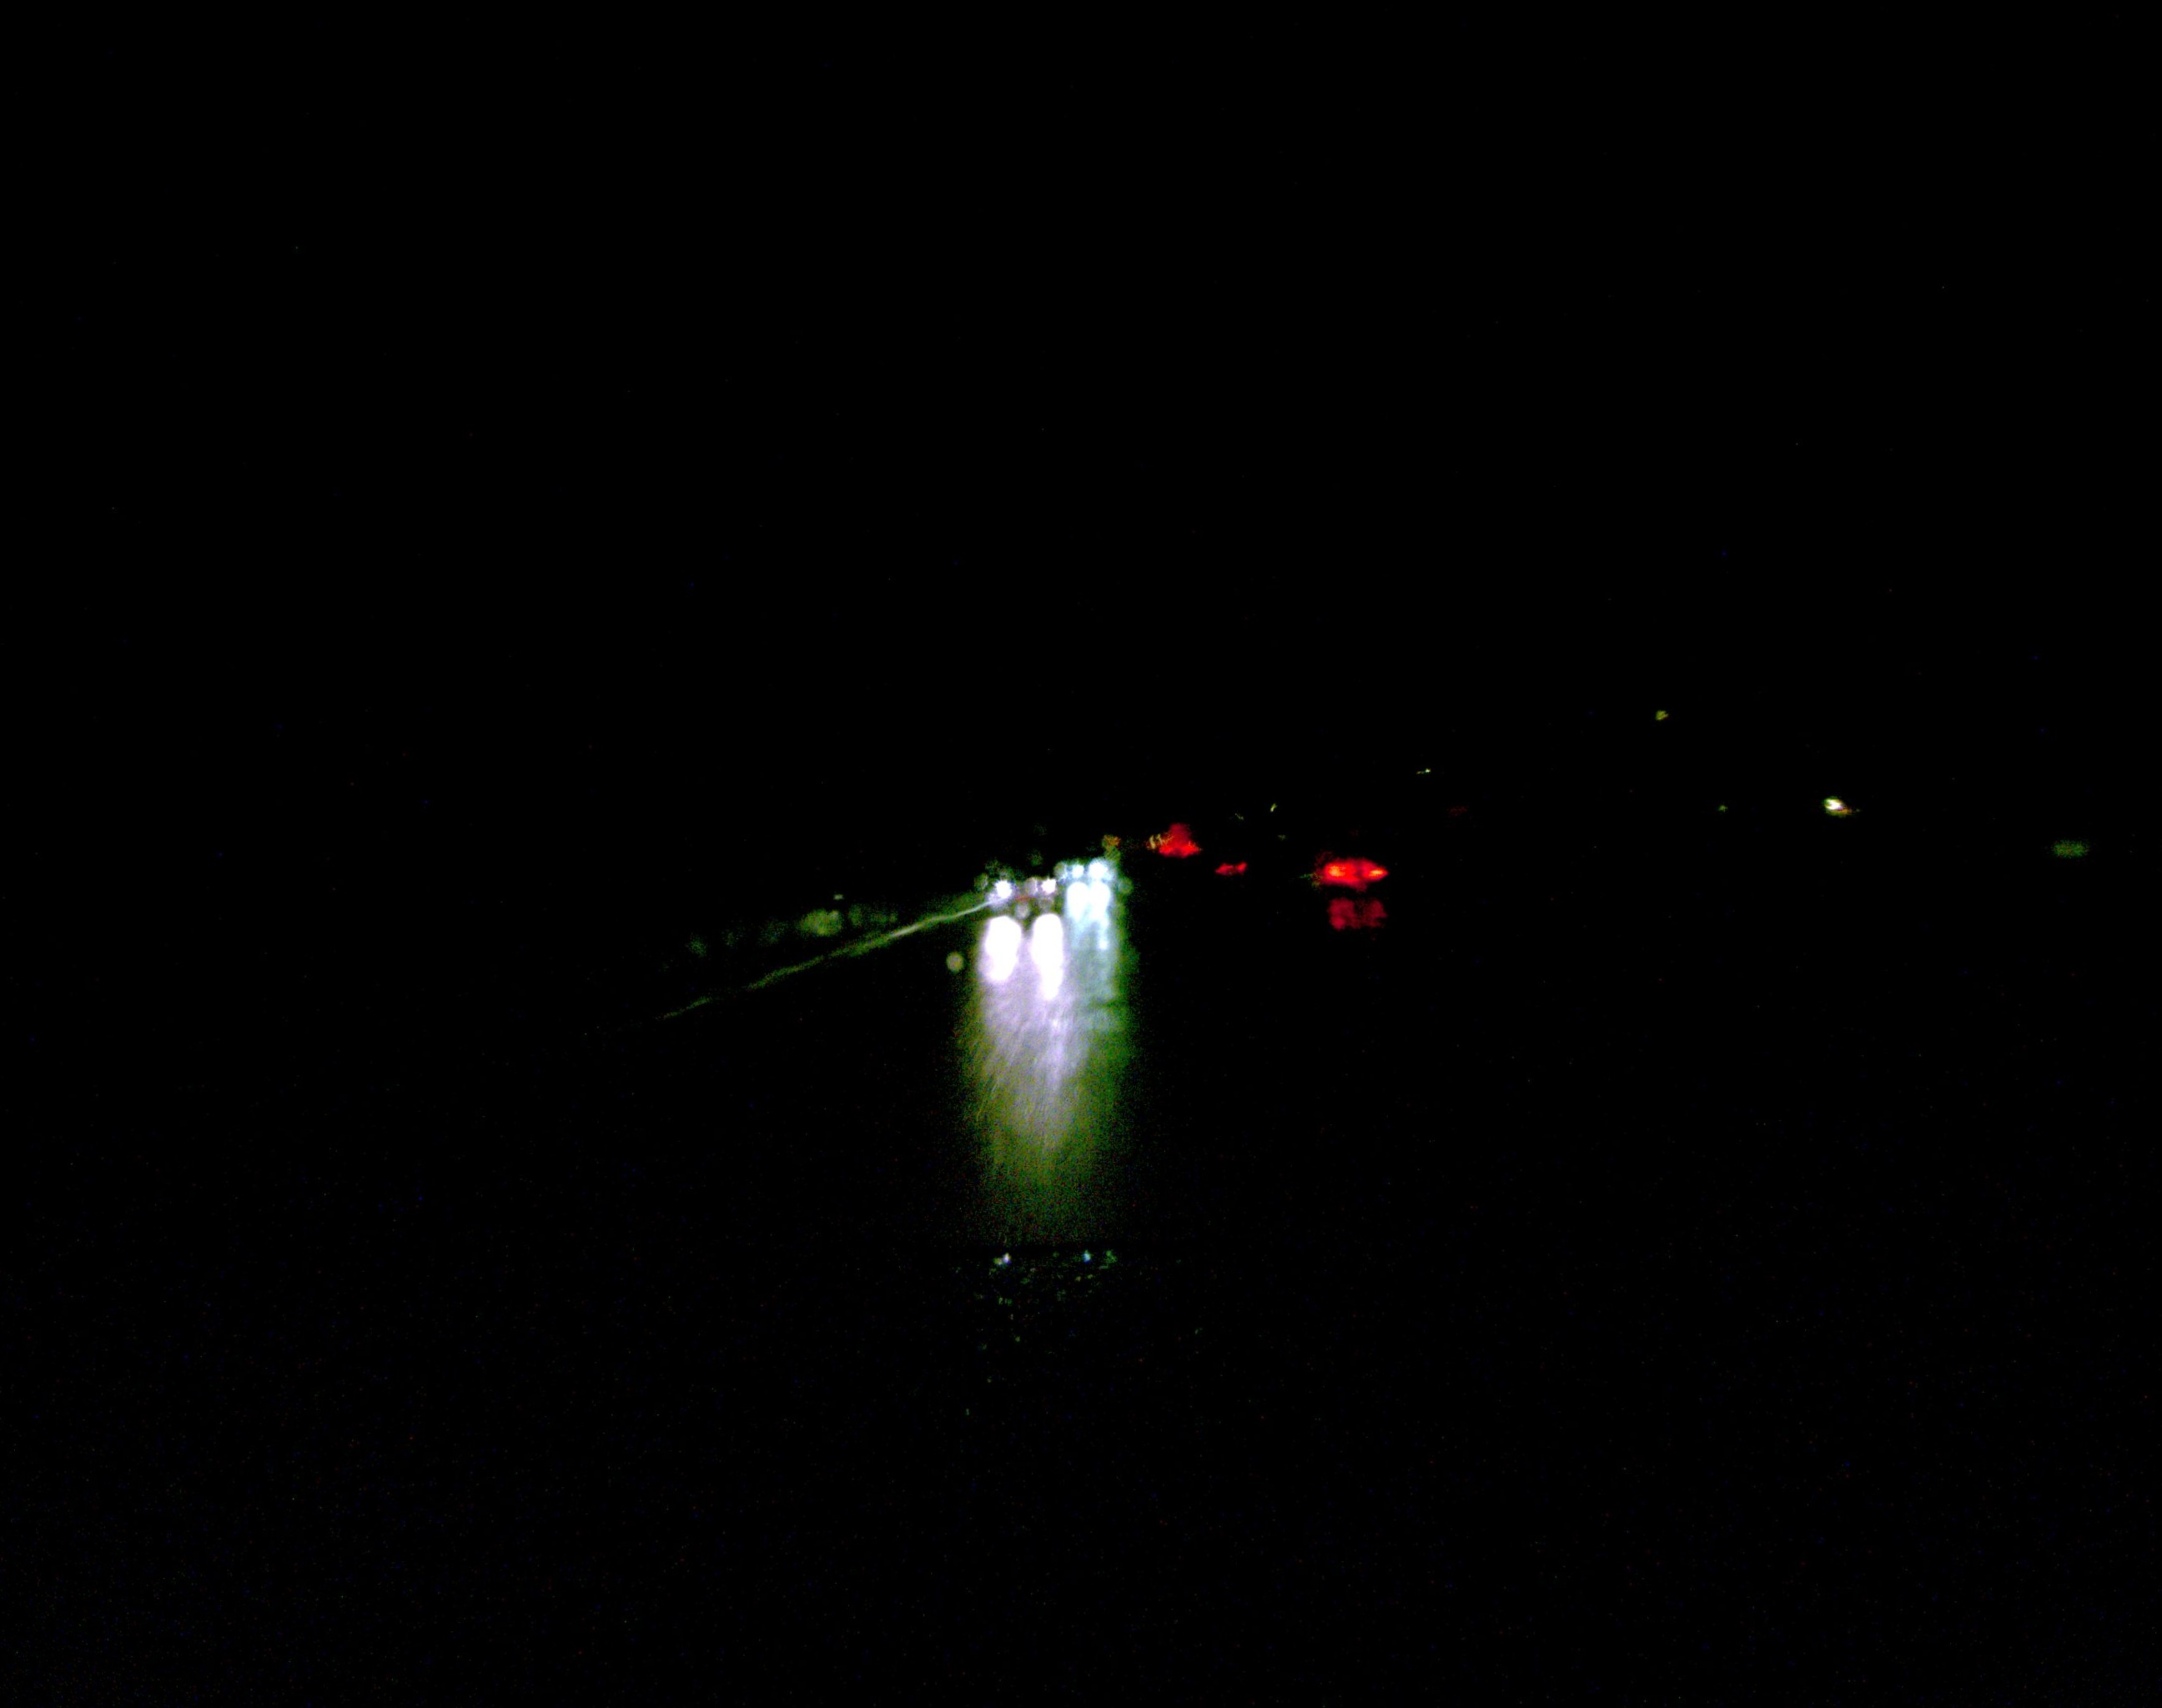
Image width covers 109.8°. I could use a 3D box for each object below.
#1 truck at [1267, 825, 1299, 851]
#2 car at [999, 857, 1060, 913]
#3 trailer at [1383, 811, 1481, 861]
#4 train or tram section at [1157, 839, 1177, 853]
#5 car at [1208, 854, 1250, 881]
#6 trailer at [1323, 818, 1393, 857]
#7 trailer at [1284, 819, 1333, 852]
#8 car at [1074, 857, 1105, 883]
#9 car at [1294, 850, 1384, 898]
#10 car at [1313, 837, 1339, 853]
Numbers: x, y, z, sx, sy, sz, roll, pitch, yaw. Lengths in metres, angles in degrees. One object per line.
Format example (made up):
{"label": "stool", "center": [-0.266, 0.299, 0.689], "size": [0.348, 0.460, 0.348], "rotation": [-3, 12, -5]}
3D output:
{"label": "truck", "center": [39.295, -3.187, 148.308], "size": [3.447, 4.583, 10.211], "rotation": [-6, 1, 1]}
{"label": "car", "center": [-1.664, 0.971, 25.773], "size": [1.791, 1.684, 4.218], "rotation": [-2, 0, -1]}
{"label": "trailer", "center": [37.911, -1.951, 83.088], "size": [3.980, 4.583, 14.245], "rotation": [-6, 1, 1]}
{"label": "train or tram section", "center": [26.877, -2.598, 238.388], "size": [2.703, 3.793, 37.141], "rotation": [-6, 1, 2]}
{"label": "car", "center": [9.715, 0.847, 50.093], "size": [1.806, 1.579, 4.030], "rotation": [-3, 1, -1]}
{"label": "trailer", "center": [37.991, -2.287, 105.106], "size": [3.980, 4.583, 15.513], "rotation": [-6, 1, 1]}
{"label": "trailer", "center": [39.054, -3.124, 131.179], "size": [3.980, 4.984, 14.833], "rotation": [-6, 1, 1]}
{"label": "car", "center": [0.533, 1.081, 52.005], "size": [1.788, 1.638, 4.435], "rotation": [-3, 0, -3]}
{"label": "car", "center": [9.972, 0.709, 29.779], "size": [1.766, 1.632, 4.651], "rotation": [-3, 0, -2]}
{"label": "car", "center": [29.648, -1.051, 92.058], "size": [1.791, 1.684, 4.219], "rotation": [-4, 0, 0]}
